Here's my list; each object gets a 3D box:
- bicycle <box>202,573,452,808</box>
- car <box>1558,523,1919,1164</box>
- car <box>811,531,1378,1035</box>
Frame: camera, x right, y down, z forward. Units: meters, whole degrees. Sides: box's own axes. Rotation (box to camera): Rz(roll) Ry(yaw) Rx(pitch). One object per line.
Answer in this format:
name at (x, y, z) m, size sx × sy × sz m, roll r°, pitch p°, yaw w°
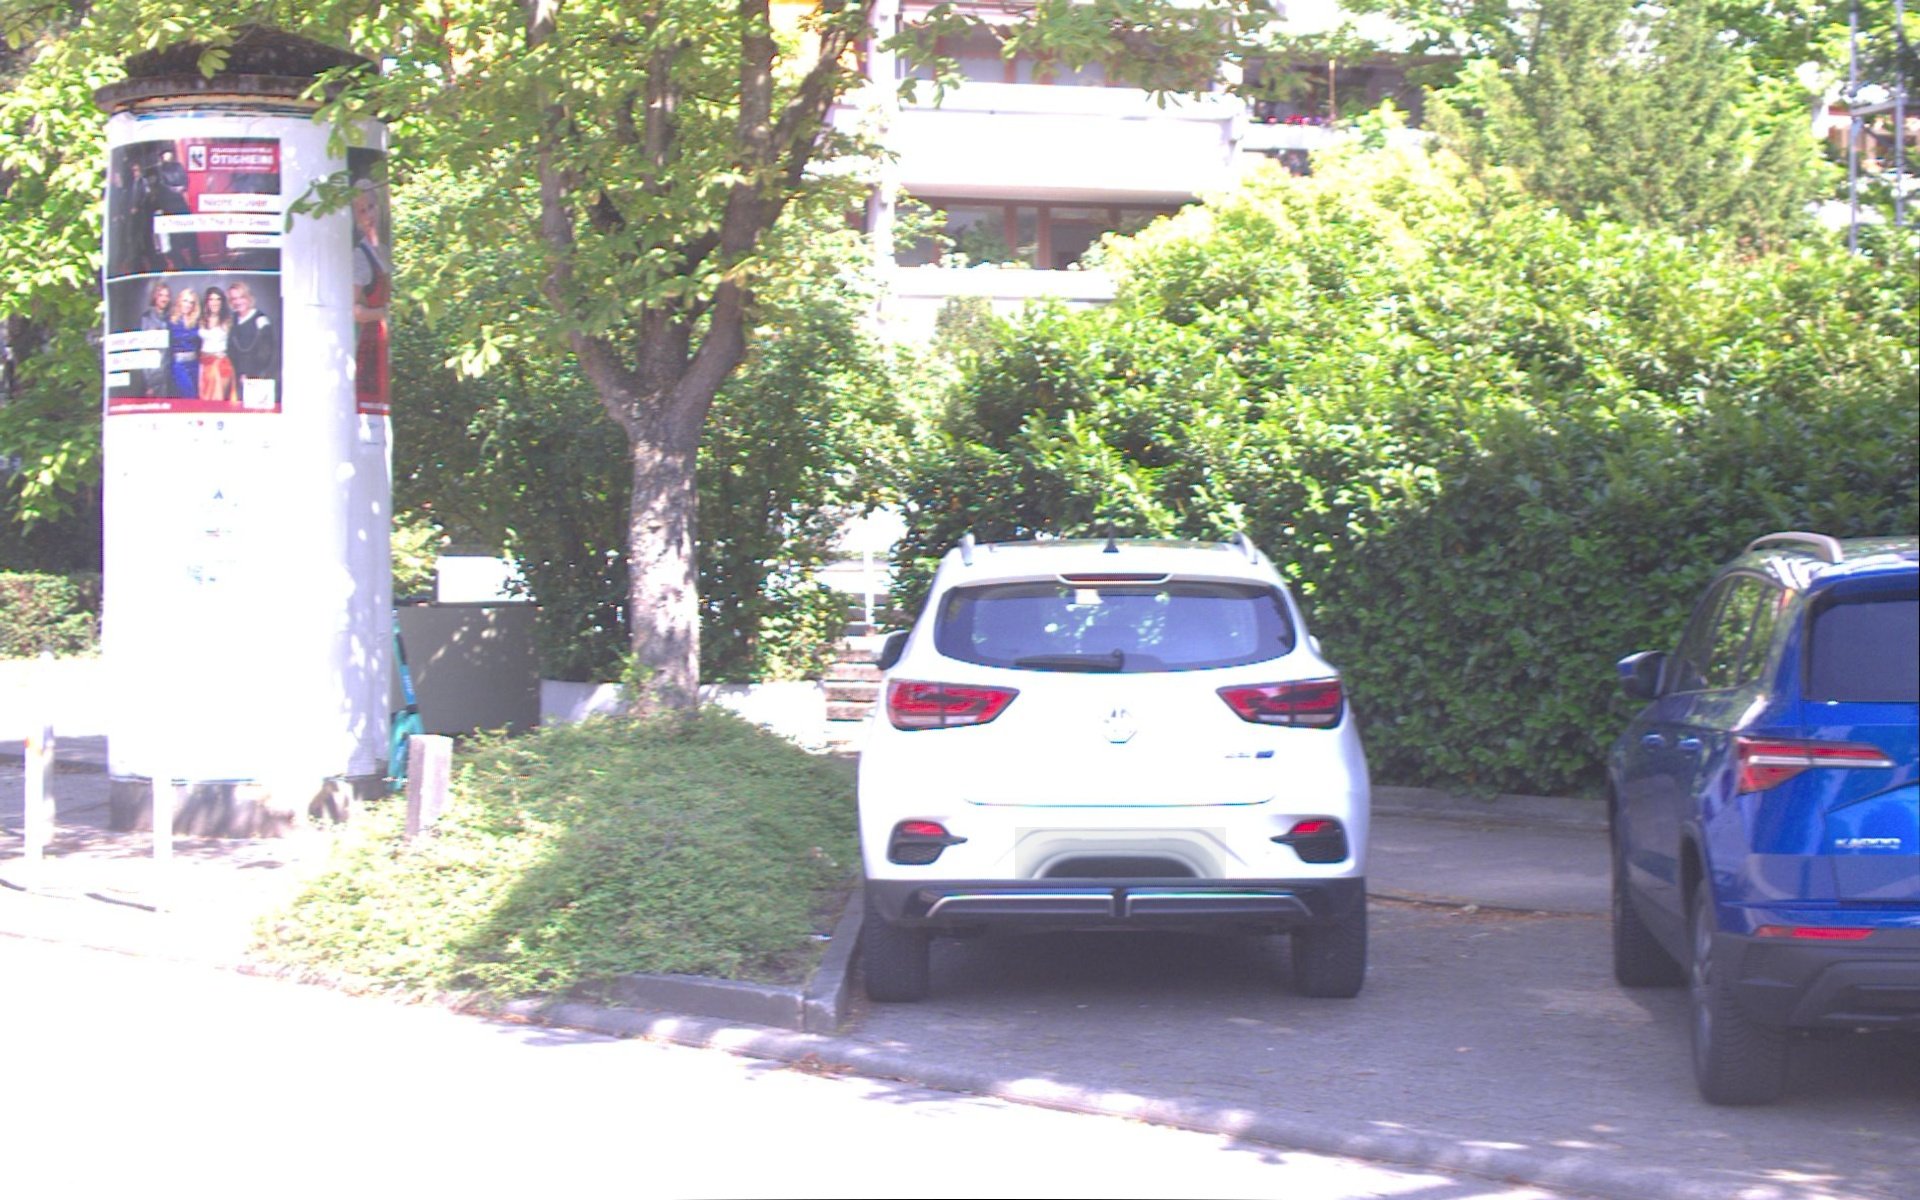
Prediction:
bicycle at (-3.699, 0.504, 20.020) m, size 1.620 × 1.304 × 0.545 m, roll 1°, pitch 0°, yaw 42°
car at (2.910, 0.591, 10.843) m, size 1.775 × 1.617 × 3.945 m, roll 0°, pitch 2°, yaw 6°
car at (0.440, 0.576, 13.220) m, size 1.814 × 1.601 × 3.945 m, roll -2°, pitch 1°, yaw 0°
